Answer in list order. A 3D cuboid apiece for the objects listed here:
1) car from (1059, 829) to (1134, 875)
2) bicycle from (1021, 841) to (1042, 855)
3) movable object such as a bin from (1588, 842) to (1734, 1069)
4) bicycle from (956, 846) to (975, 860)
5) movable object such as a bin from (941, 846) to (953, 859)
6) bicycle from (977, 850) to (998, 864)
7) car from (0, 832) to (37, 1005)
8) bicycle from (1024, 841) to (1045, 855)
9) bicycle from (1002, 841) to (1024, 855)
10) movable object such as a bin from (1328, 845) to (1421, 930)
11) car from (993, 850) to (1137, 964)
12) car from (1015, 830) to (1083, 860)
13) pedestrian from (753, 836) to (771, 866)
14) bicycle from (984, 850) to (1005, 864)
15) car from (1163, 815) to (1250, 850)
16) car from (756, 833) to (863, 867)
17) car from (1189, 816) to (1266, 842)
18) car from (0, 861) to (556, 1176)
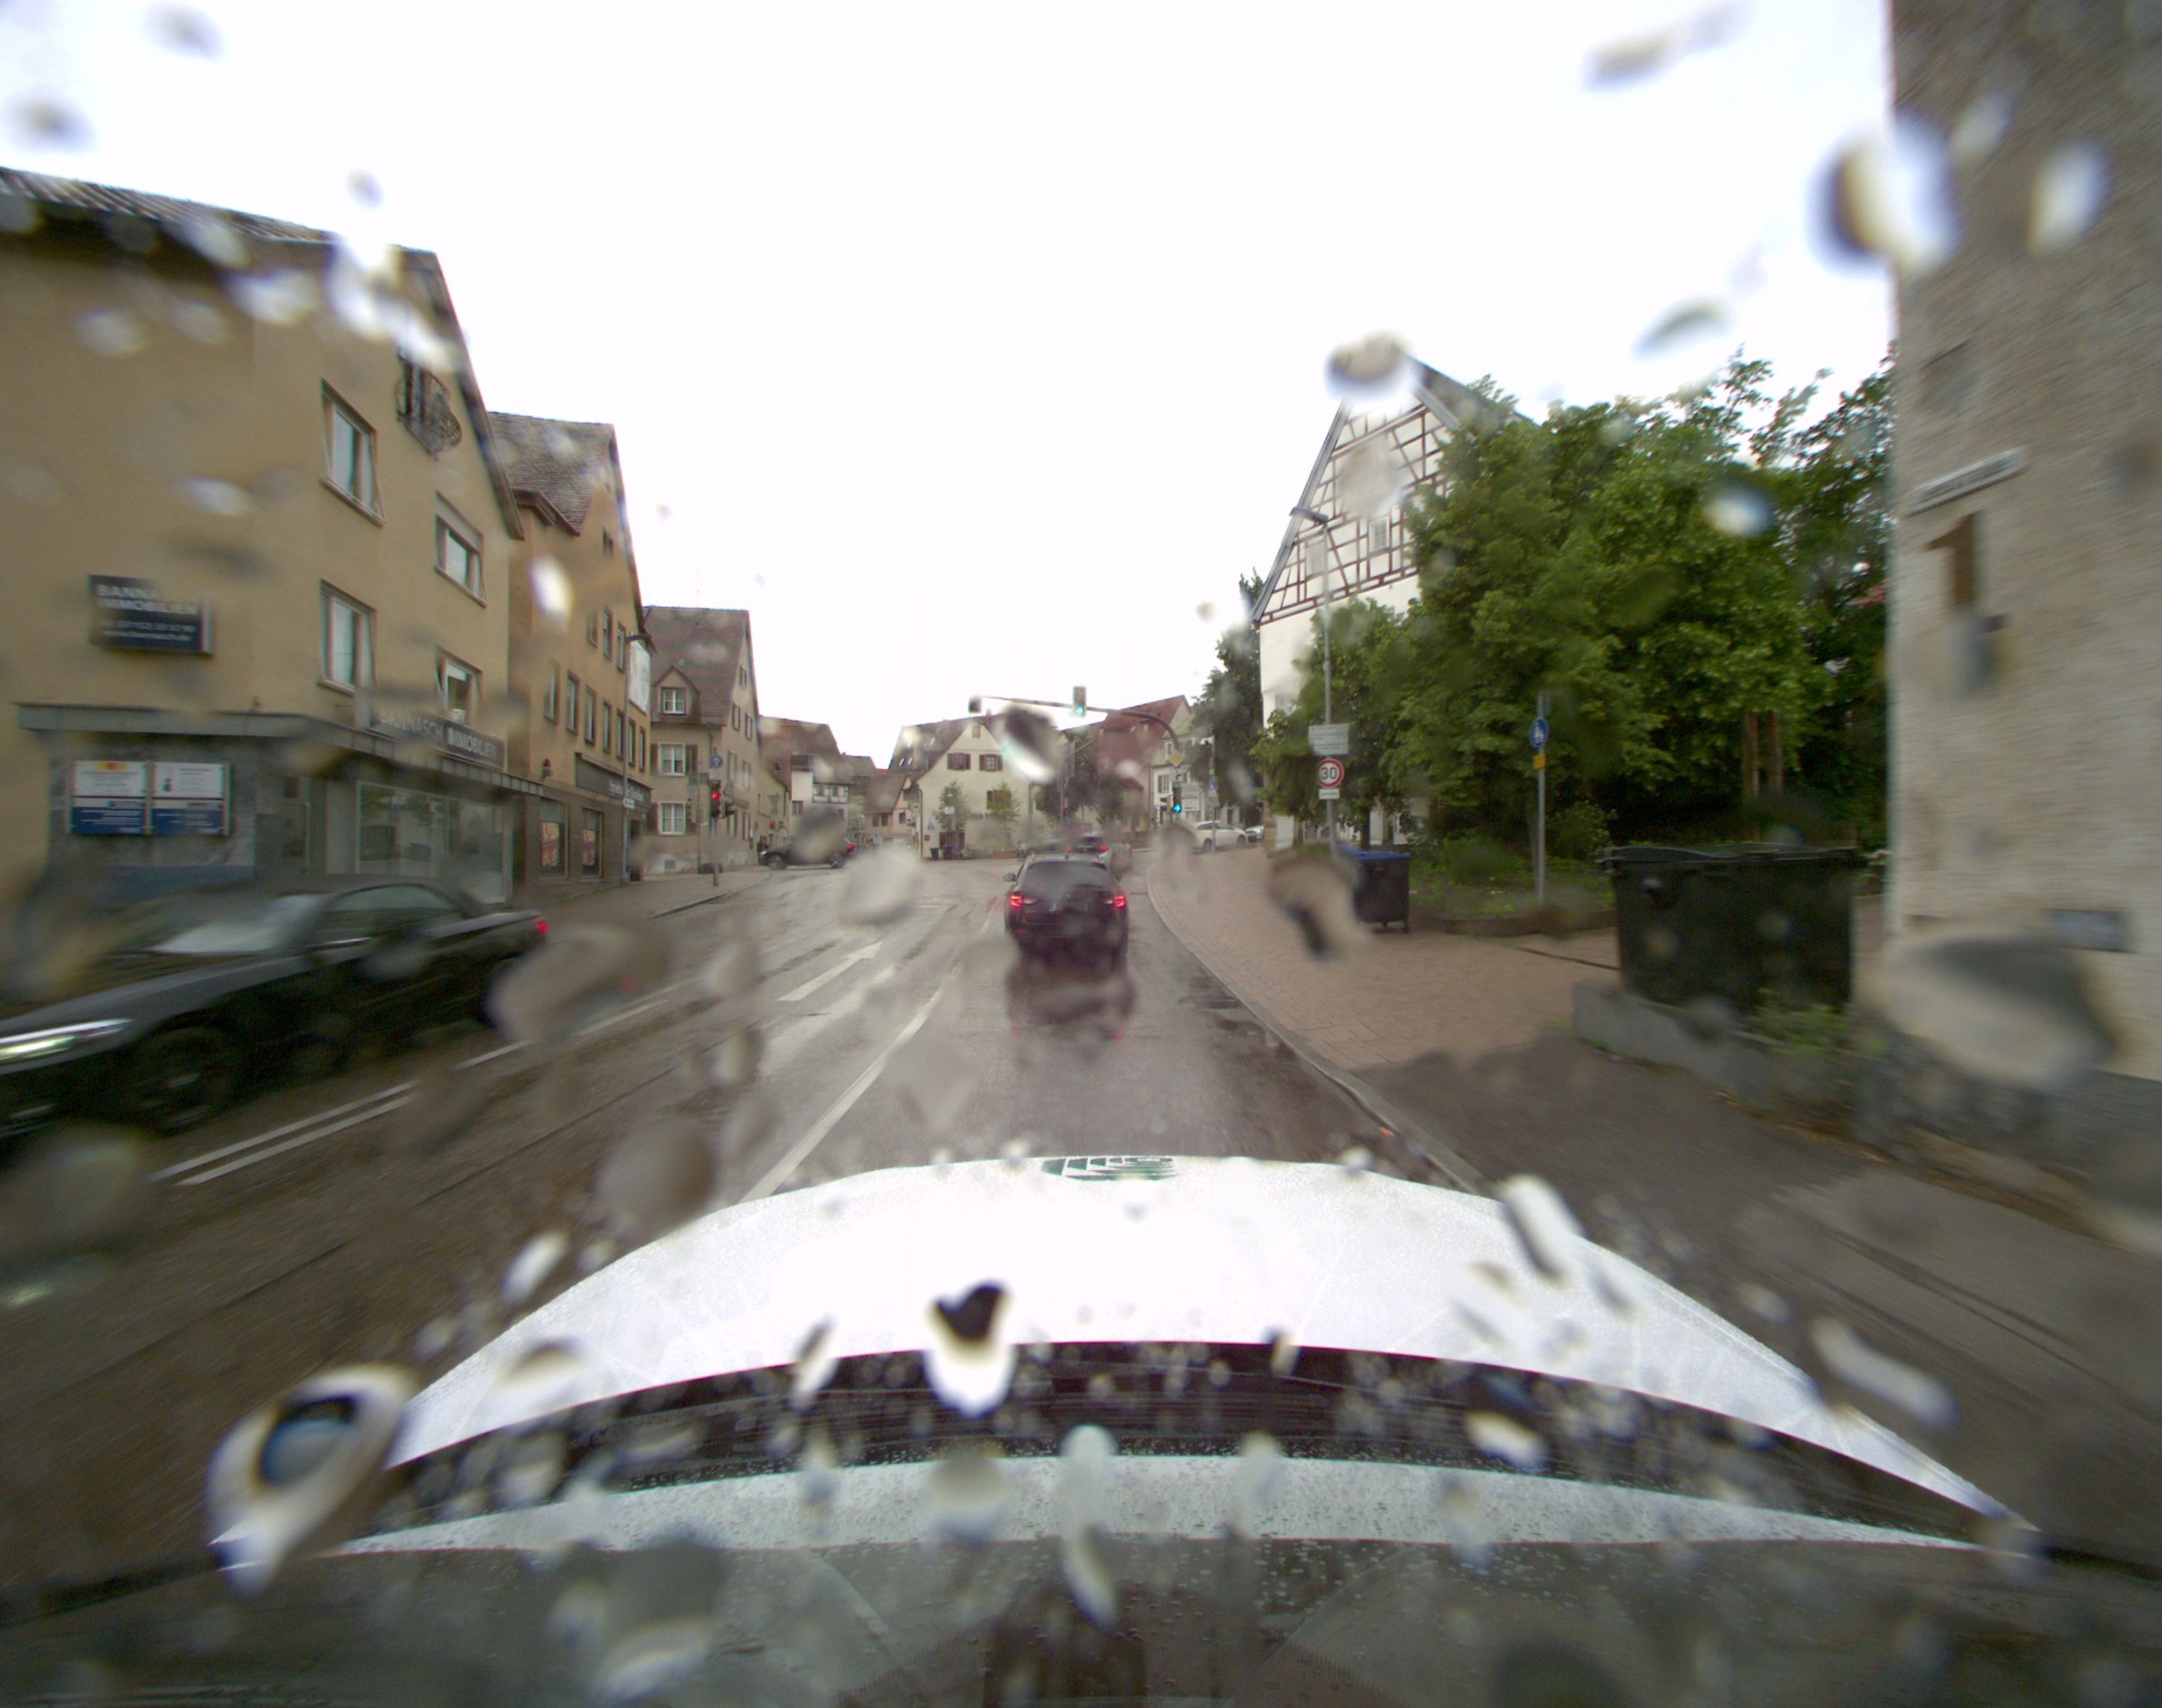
[{"bbox_3d":[0.672,-0.129,30.419,1.842,1.472,4.018,0,3,15],"label":"car"},{"bbox_3d":[-3.471,-0.431,57.172,1.476,0.912,0.388,-2,4,-34],"label":"bicycle"},{"bbox_3d":[3.946,0.657,5.569,0.414,1.442,0.639,0,-2,-25],"label":"movable object such as a bin"},{"bbox_3d":[-7.593,-0.080,53.712,0.334,0.818,1.446,3,4,35],"label":"bicycle"},{"bbox_3d":[-8.965,-0.109,54.601,0.590,0.901,0.578,-1,1,-33],"label":"movable object such as a bin"},{"bbox_3d":[-6.238,0.219,54.554,0.388,0.912,1.479,0,1,43],"label":"bicycle"},{"bbox_3d":[-13.560,0.964,7.138,4.936,1.824,1.950,-7,4,-20],"label":"car"},{"bbox_3d":[-3.267,-0.436,56.803,1.476,0.912,0.388,-2,4,-34],"label":"bicycle"},{"bbox_3d":[-4.679,-0.436,56.207,1.476,0.912,0.388,-2,4,-34],"label":"bicycle"},{"bbox_3d":[4.728,0.519,13.216,1.149,1.313,1.188,-1,0,4],"label":"movable object such as a bin"},{"bbox_3d":[-0.234,0.690,12.954,1.881,1.448,4.355,-1,1,-1],"label":"car"},{"bbox_3d":[-1.695,-0.439,42.850,3.380,1.477,1.529,1,-2,-11],"label":"car"},{"bbox_3d":[-20.242,-0.204,51.650,0.802,1.830,0.707,-5,3,-32],"label":"pedestrian"},{"bbox_3d":[-5.763,0.214,54.346,0.388,0.912,1.479,0,1,43],"label":"bicycle"},{"bbox_3d":[6.168,-1.027,39.810,4.350,1.596,1.868,-1,1,-42],"label":"car"},{"bbox_3d":[-13.224,-0.215,39.928,4.736,1.588,1.823,-1,1,-12],"label":"car"},{"bbox_3d":[8.490,-1.420,47.273,3.985,1.431,1.994,-1,1,-9],"label":"car"},{"bbox_3d":[-5.969,0.796,5.648,1.855,1.387,4.262,-1,1,0],"label":"car"}]
